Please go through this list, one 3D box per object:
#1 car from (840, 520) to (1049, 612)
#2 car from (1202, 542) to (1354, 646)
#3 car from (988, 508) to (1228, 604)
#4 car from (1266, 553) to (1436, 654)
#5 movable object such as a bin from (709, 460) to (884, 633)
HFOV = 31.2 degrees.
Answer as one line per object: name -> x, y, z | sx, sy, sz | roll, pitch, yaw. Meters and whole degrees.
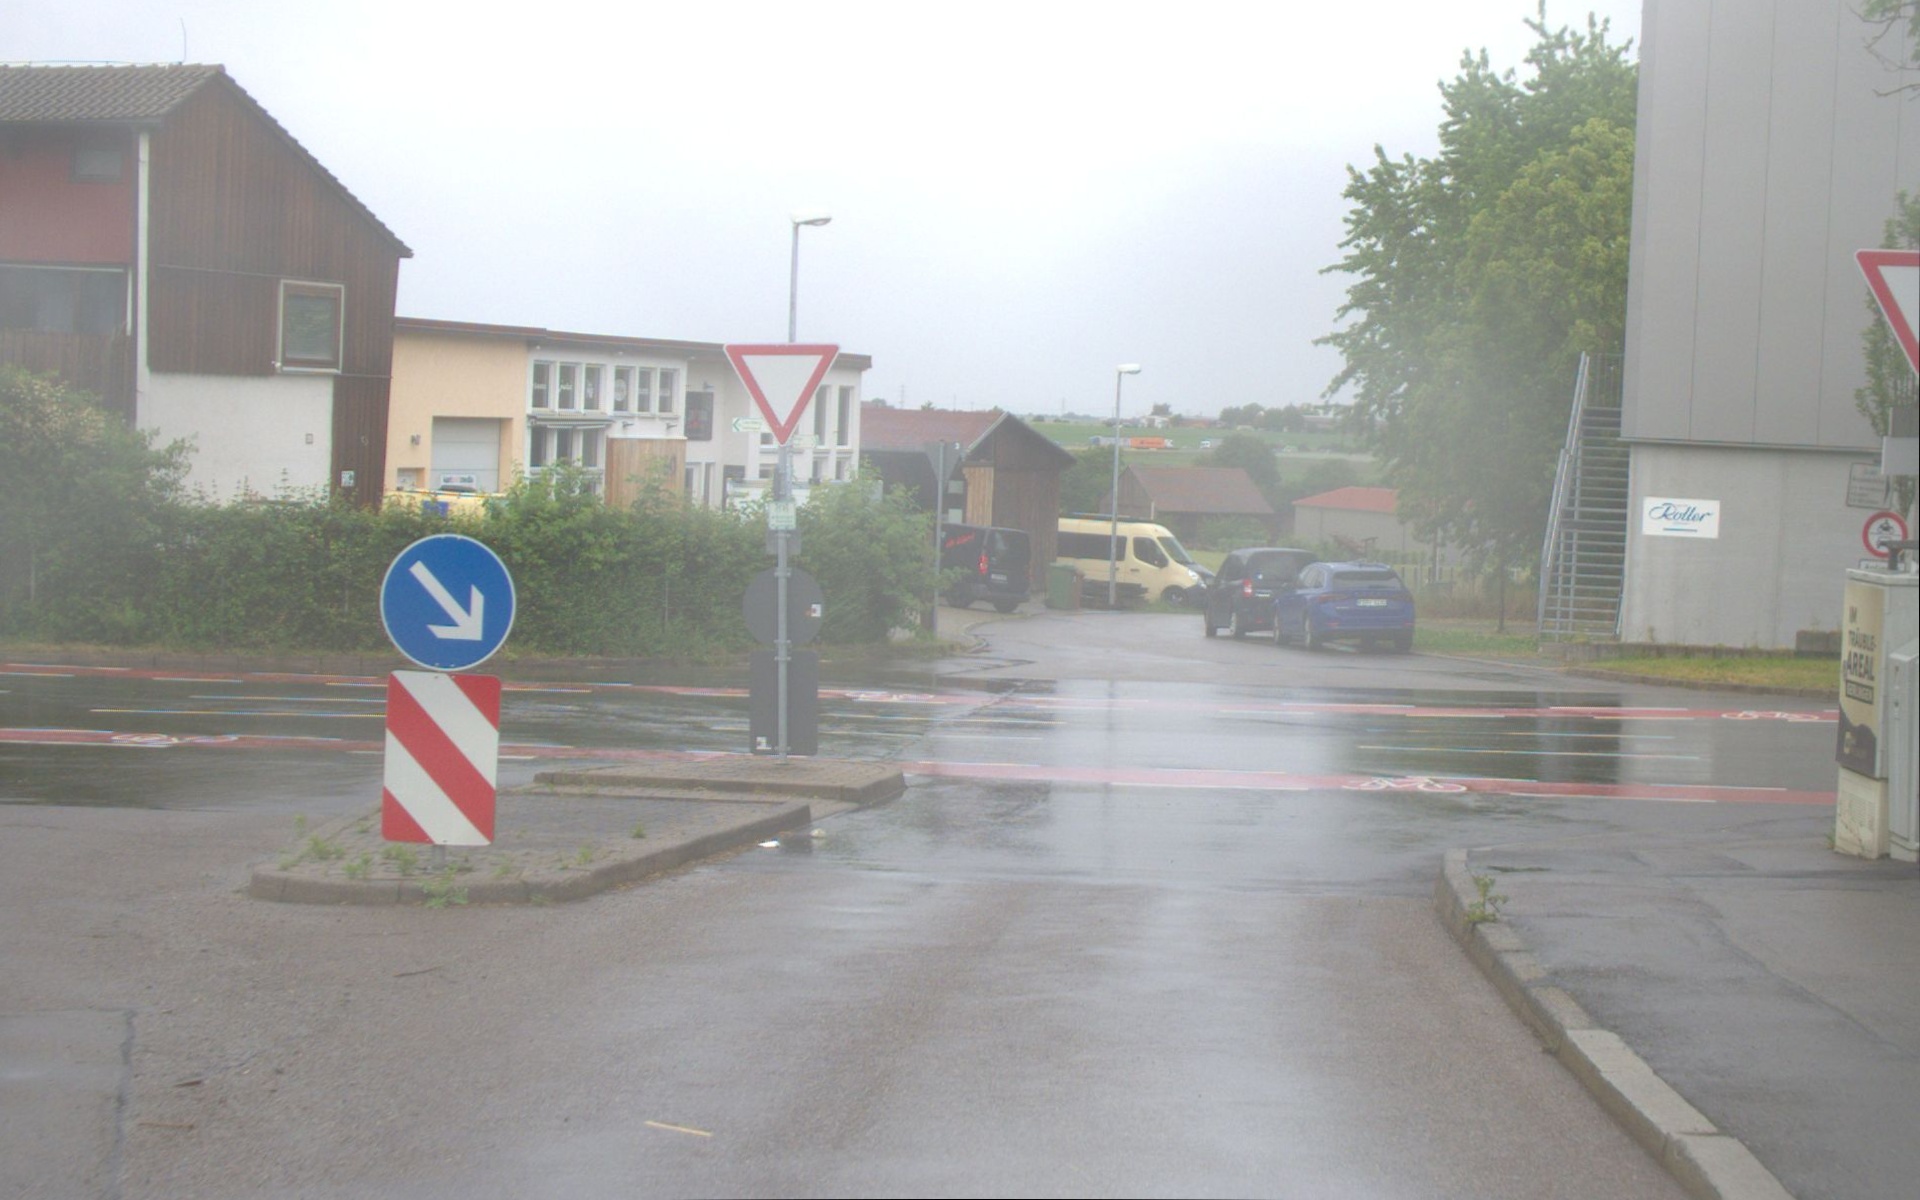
car -> -0.364, -0.762, 76.459 | 4.407, 1.898, 1.995 | 2, 1, 43
car -> 5.959, -0.133, 64.899 | 2.073, 1.828, 4.471 | 2, 1, -4
car -> 4.047, -1.198, 93.834 | 6.015, 2.407, 2.461 | 2, 0, 21
car -> 6.612, 0.028, 58.593 | 1.951, 1.604, 4.448 | 2, 1, -6
movable object such as a bin -> -2.496, -0.804, 53.133 | 1.734, 2.548, 3.337 | 2, 0, 14
